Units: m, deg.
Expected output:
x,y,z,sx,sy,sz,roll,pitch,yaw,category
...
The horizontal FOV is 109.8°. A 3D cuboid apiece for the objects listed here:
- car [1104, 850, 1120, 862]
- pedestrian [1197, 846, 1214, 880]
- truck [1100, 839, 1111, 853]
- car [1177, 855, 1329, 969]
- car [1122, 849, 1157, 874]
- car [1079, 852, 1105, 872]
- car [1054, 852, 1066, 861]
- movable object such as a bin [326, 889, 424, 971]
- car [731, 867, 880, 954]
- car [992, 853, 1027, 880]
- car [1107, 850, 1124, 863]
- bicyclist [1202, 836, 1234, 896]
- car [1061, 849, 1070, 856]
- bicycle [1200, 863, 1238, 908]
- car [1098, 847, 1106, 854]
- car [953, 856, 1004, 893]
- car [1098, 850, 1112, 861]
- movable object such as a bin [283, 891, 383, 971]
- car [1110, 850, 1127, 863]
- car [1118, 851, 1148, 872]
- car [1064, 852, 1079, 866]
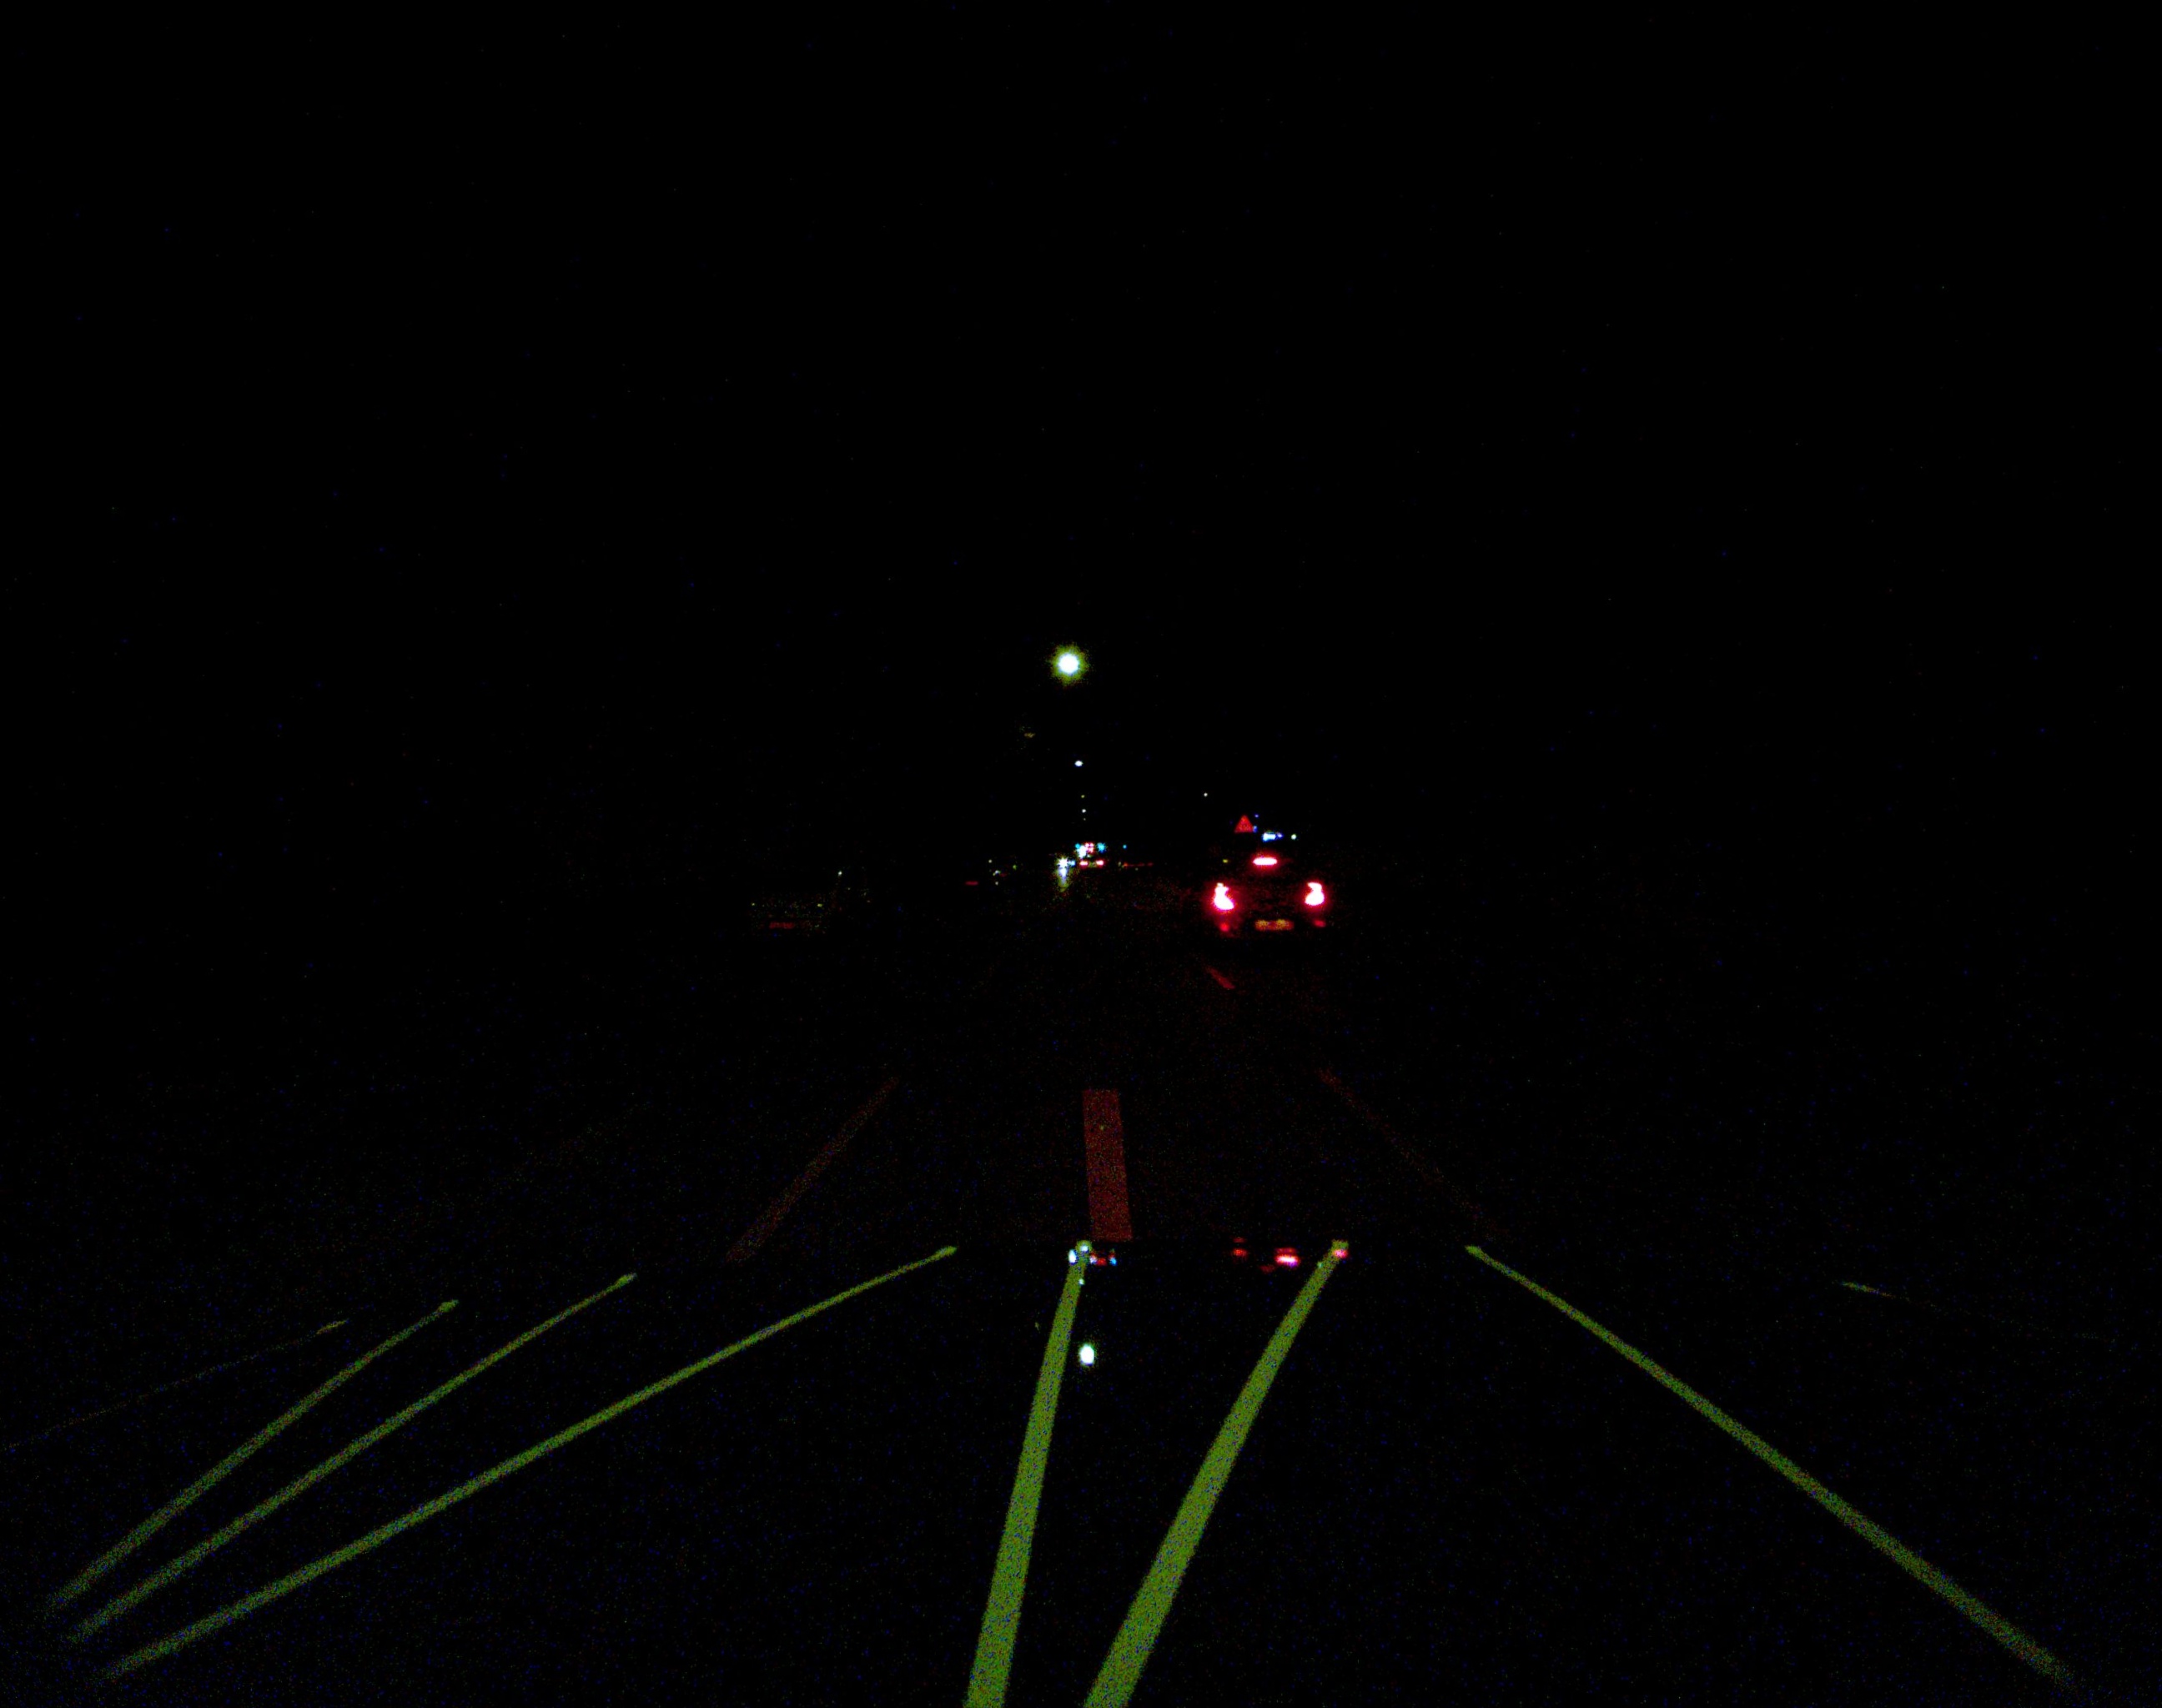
x,y,z,sx,sy,sz,roll,pitch,yaw,category
4.450,0.290,110.061,1.874,1.635,3.999,-2,0,-3,car
6.541,0.461,39.939,0.670,1.716,0.866,-2,1,-2,pedestrian
4.976,-1.632,155.505,2.084,2.562,6.873,-2,0,1,truck
2.562,0.793,12.071,1.585,1.493,3.395,-2,0,0,car
3.976,0.512,52.327,1.864,1.524,4.587,-4,0,-1,car
0.853,0.618,61.605,1.862,1.525,4.026,-2,0,-2,car
-3.574,0.383,129.574,1.874,1.407,3.999,-2,0,0,car
-9.918,1.051,10.701,0.609,1.042,0.755,-2,1,1,movable object such as a bin
-5.330,1.026,15.199,1.672,1.476,3.603,0,0,0,car
-4.445,0.765,47.807,1.742,1.588,4.359,0,0,1,car
4.732,0.349,105.122,1.874,1.635,3.999,-2,0,-3,car
3.857,0.335,21.409,0.692,1.628,0.896,-2,1,1,bicyclist
-3.298,-0.342,161.704,1.874,1.407,3.999,-2,0,0,car
3.881,0.859,21.458,0.698,1.142,1.950,-2,1,1,bicycle
5.010,-0.768,180.310,1.873,1.551,4.353,-2,0,1,car
-4.562,0.866,34.286,1.865,1.544,4.044,0,0,-1,car
3.737,0.200,119.492,1.874,1.635,3.999,-2,0,-3,car
-10.566,1.070,10.763,0.609,1.042,0.755,-2,1,1,movable object such as a bin
4.974,0.322,100.866,1.874,1.635,3.999,-2,0,-3,car
3.899,0.555,57.842,1.864,1.458,3.896,-4,0,-1,car
-1.189,0.576,95.482,1.874,1.635,3.999,-2,0,0,car
